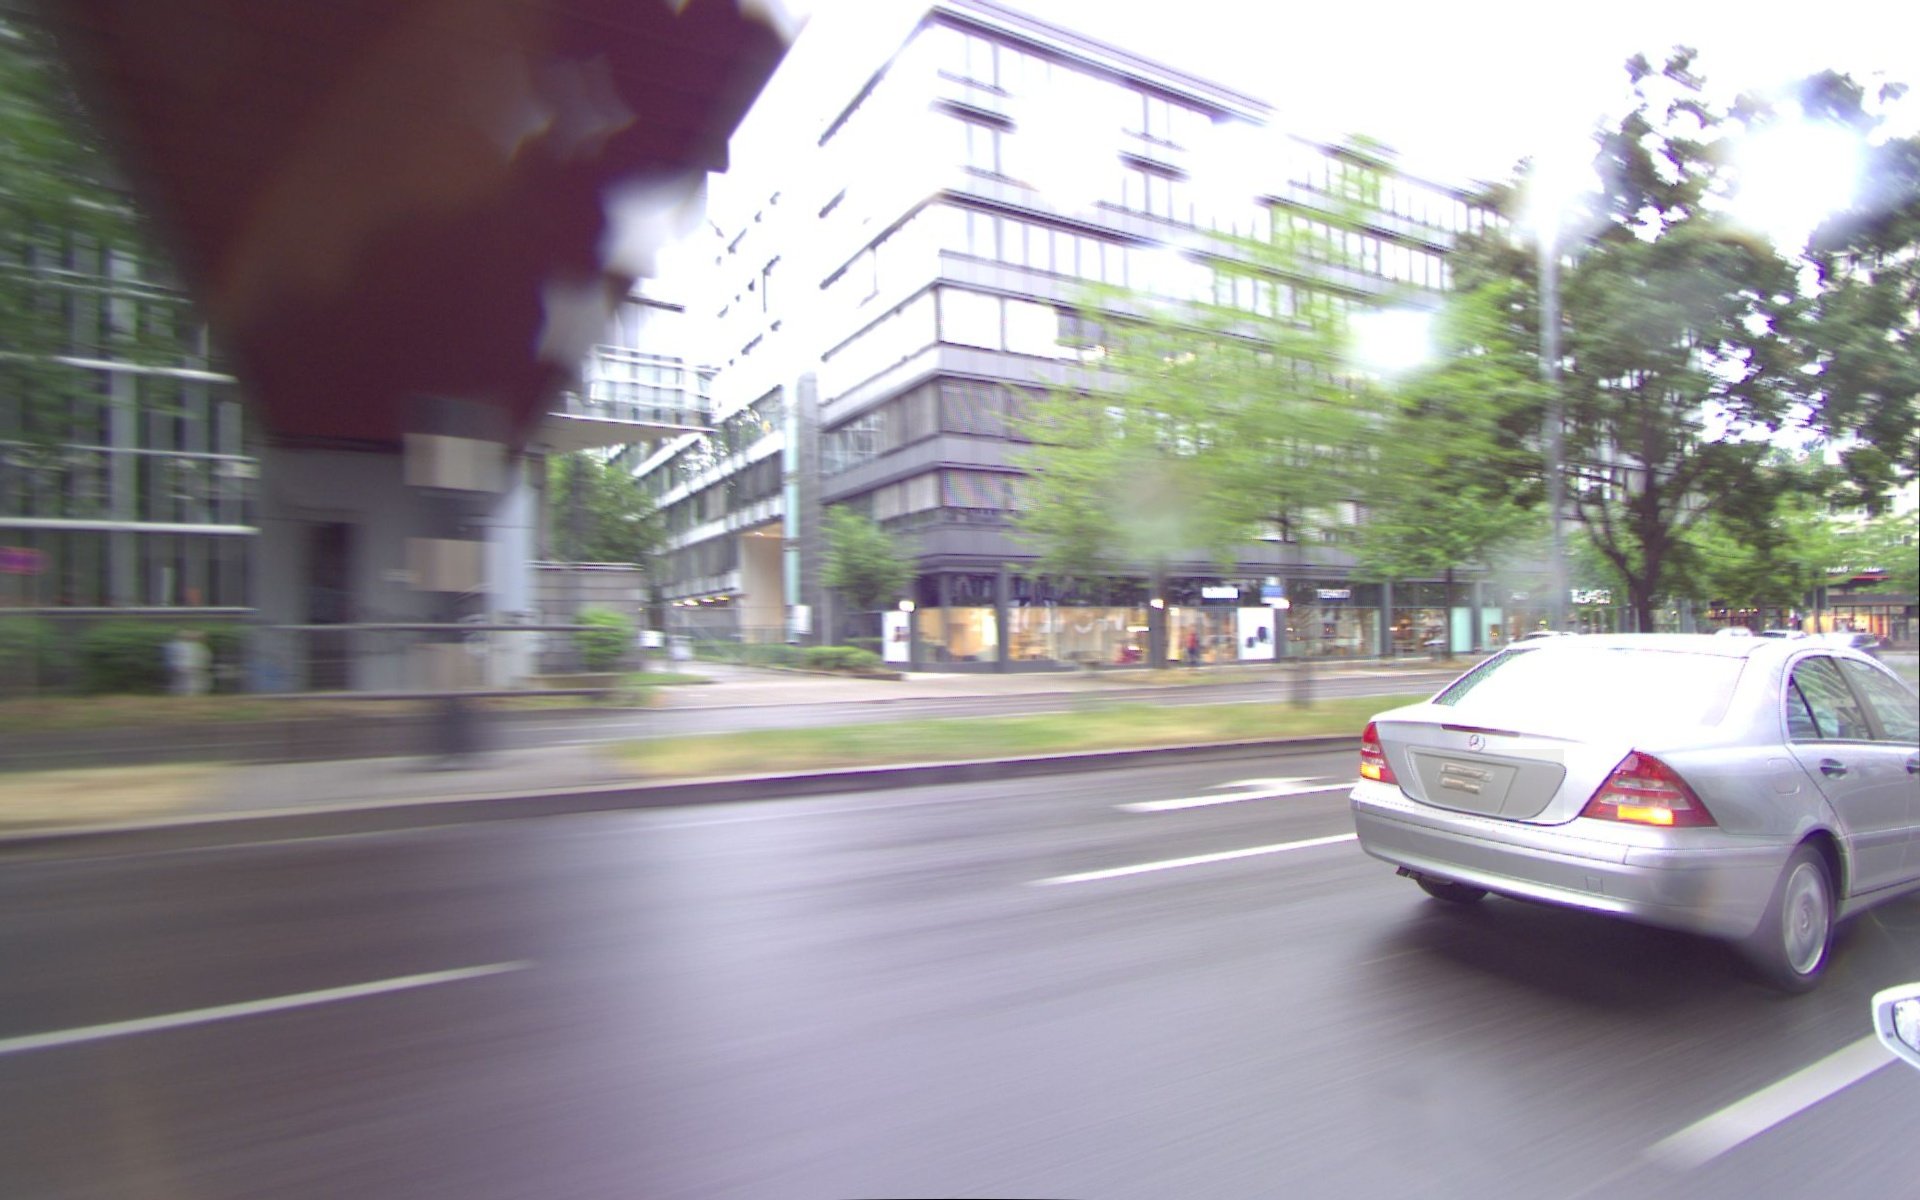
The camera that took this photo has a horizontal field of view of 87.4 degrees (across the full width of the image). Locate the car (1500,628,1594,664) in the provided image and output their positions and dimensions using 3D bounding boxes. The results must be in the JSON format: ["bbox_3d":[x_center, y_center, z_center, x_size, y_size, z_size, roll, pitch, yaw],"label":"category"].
[{"bbox_3d":[24.922,1.952,42.614,4.397,1.451,1.615,2,-3,-32],"label":"car"}]

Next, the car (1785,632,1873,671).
[{"bbox_3d":[31.295,1.840,36.157,3.582,1.328,1.613,2,-3,-36],"label":"car"}]

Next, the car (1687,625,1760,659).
[{"bbox_3d":[38.879,2.127,51.137,4.185,1.632,1.614,1,-1,-32],"label":"car"}]

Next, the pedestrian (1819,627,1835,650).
[{"bbox_3d":[65.306,2.899,75.654,0.739,1.736,0.593,0,-1,22],"label":"pedestrian"}]

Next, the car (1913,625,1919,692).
[{"bbox_3d":[23.271,1.334,22.726,3.961,1.476,1.762,2,-3,-36],"label":"car"}]

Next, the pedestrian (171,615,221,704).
[{"bbox_3d":[-16.136,1.243,21.236,0.751,1.831,0.593,0,-1,-30],"label":"pedestrian"}]

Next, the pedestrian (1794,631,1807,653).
[{"bbox_3d":[59.235,2.971,70.809,0.591,1.523,0.437,0,-1,22],"label":"pedestrian"}]

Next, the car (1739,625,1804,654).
[{"bbox_3d":[43.894,2.104,54.317,3.919,1.480,1.614,1,-1,-32],"label":"car"}]

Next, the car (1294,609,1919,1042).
[{"bbox_3d":[3.913,0.841,5.309,4.310,1.498,1.664,2,-1,-31],"label":"car"}]

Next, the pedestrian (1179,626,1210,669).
[{"bbox_3d":[9.561,1.925,40.934,1.045,1.738,0.739,1,-2,-31],"label":"pedestrian"}]

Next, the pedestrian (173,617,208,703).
[{"bbox_3d":[-16.611,1.279,21.697,0.505,1.831,0.603,0,-1,-30],"label":"pedestrian"}]
